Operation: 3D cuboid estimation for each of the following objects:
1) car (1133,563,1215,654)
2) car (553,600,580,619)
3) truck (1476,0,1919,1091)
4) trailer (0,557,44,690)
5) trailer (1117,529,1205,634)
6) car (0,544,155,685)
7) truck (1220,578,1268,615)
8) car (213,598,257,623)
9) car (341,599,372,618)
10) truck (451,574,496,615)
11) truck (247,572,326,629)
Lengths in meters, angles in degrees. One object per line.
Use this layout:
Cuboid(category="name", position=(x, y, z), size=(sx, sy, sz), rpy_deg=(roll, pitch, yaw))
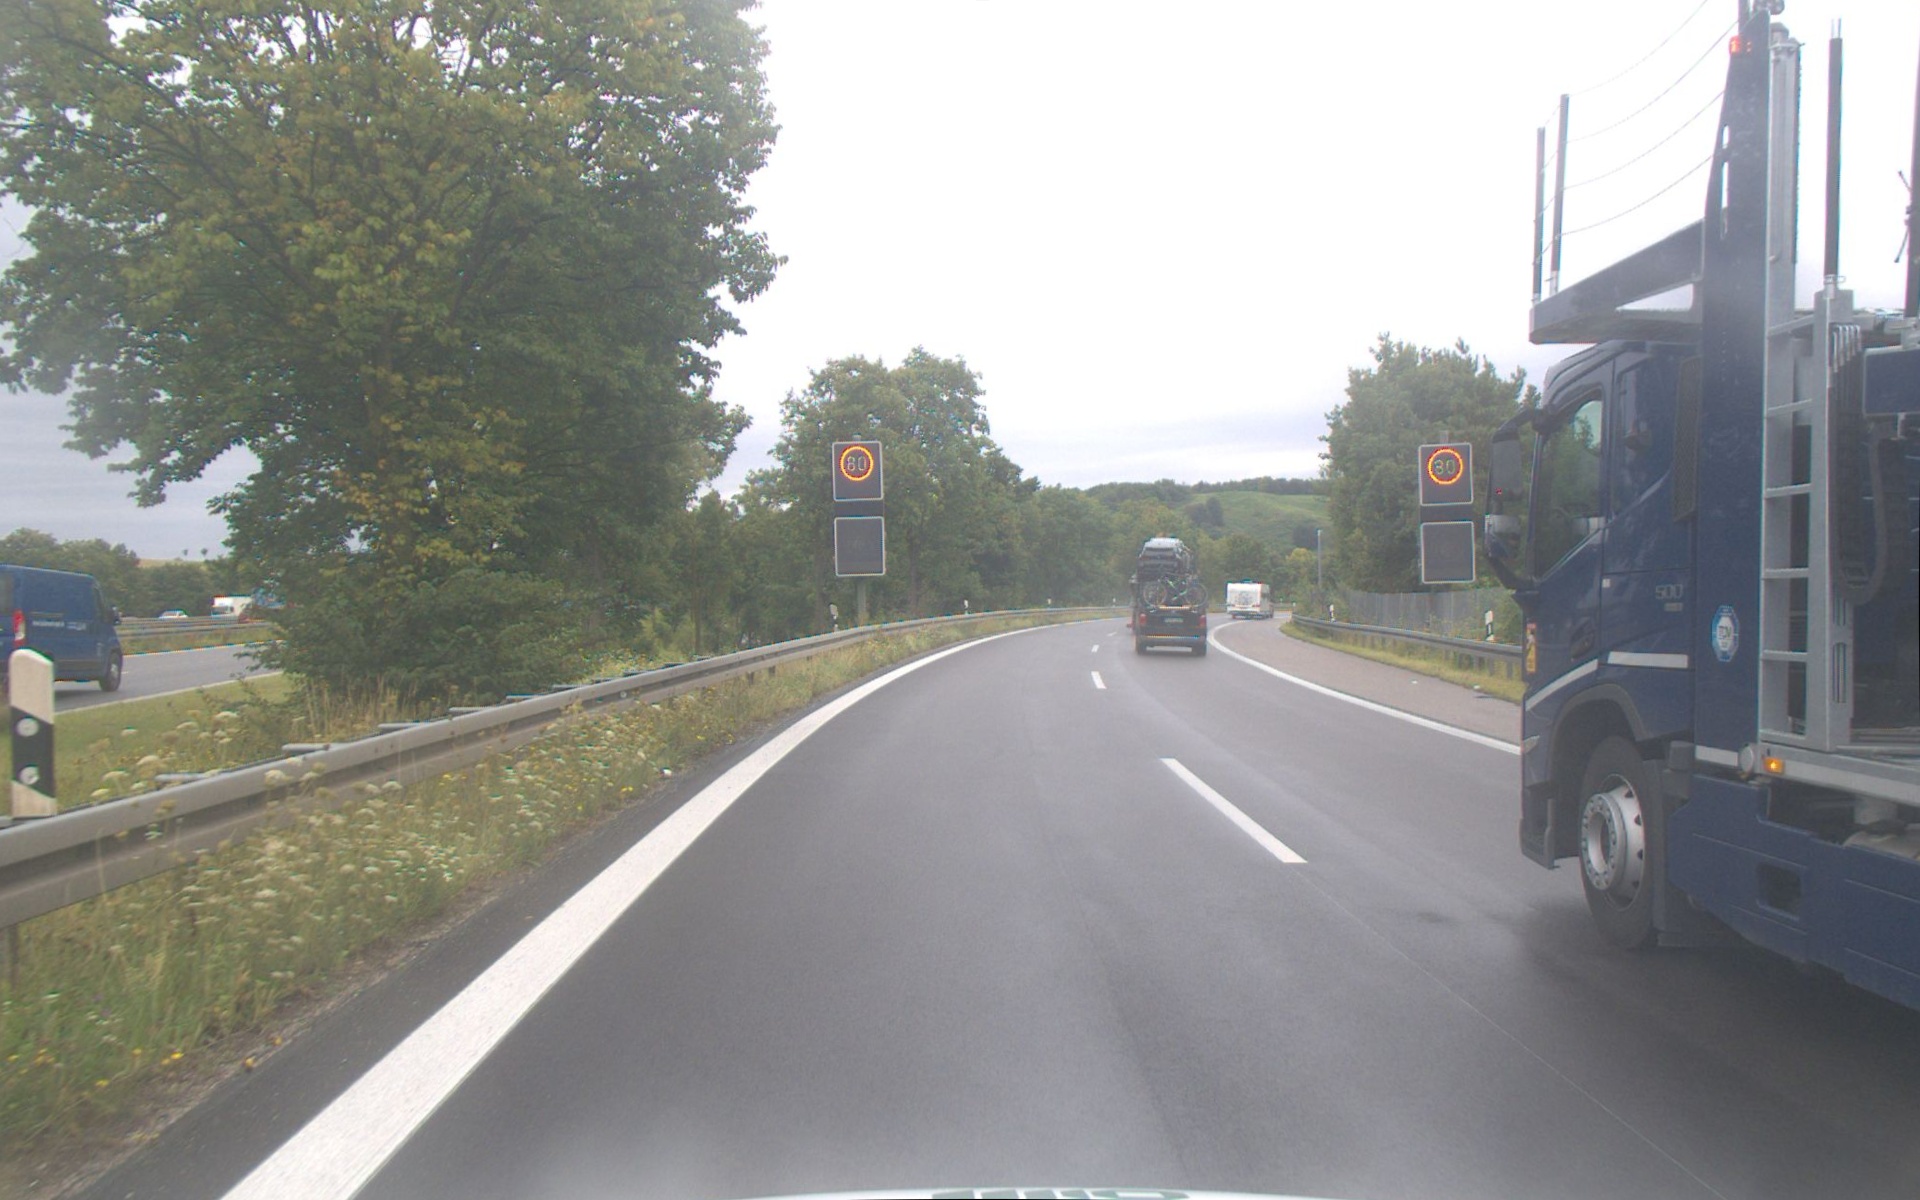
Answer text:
Cuboid(category="car", position=(5.815, 0.211, 45.403), size=(2.065, 2.304, 5.901), rpy_deg=(-1, 0, 6))
Cuboid(category="car", position=(-35.029, 0.825, 147.312), size=(1.925, 1.666, 5.612), rpy_deg=(0, 0, -10))
Cuboid(category="truck", position=(4.219, -0.546, 4.489), size=(2.683, 4.037, 9.127), rpy_deg=(0, 0, -1))
Cuboid(category="trailer", position=(-15.561, 0.364, 23.336), size=(2.440, 2.029, 7.046), rpy_deg=(0, 0, -10))
Cuboid(category="trailer", position=(8.669, -0.787, 72.038), size=(3.376, 4.069, 12.035), rpy_deg=(2, 1, 6))
Cuboid(category="car", position=(-16.729, 0.231, 29.844), size=(2.330, 2.306, 6.241), rpy_deg=(0, 0, -10))
Cuboid(category="truck", position=(21.108, -0.288, 122.851), size=(2.593, 2.651, 6.423), rpy_deg=(-1, 0, 18))
Cuboid(category="car", position=(-48.230, 0.717, 110.105), size=(1.776, 1.601, 3.991), rpy_deg=(0, 0, -9))
Cuboid(category="car", position=(-52.885, 0.757, 145.060), size=(1.851, 1.601, 3.991), rpy_deg=(0, 0, -9))
Cuboid(category="truck", position=(-54.398, -0.656, 185.022), size=(3.665, 4.494, 10.171), rpy_deg=(0, 0, -10))
Cuboid(category="truck", position=(-42.562, -0.002, 104.803), size=(2.805, 3.423, 8.611), rpy_deg=(-1, 0, -10))
